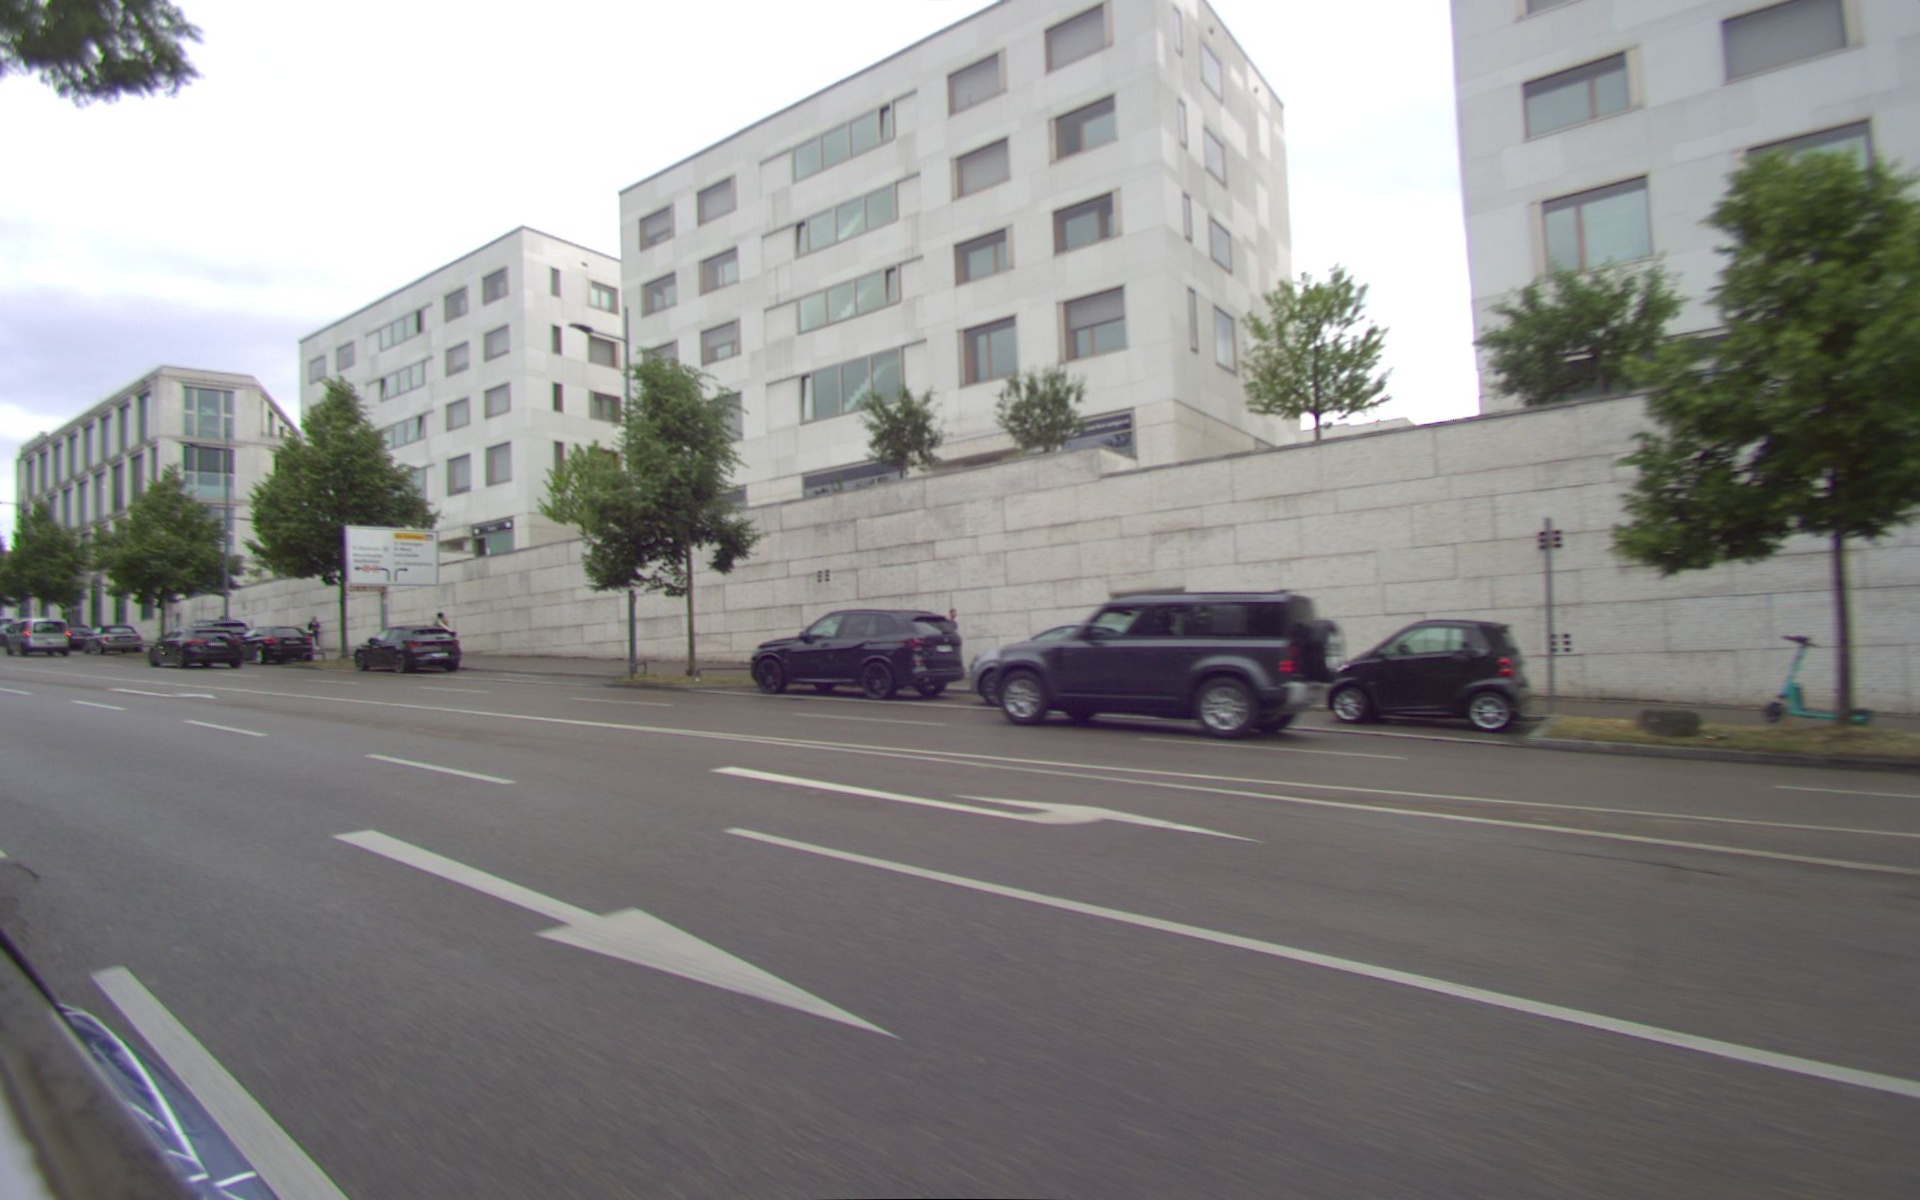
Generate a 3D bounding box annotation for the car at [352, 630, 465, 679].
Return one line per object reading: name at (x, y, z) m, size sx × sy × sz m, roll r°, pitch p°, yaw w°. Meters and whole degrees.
car at (-17.432, 1.694, 31.934) m, size 3.958 × 1.437 × 1.664 m, roll -2°, pitch -2°, yaw 37°

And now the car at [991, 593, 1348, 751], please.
car at (2.833, 0.928, 14.107) m, size 4.497 × 1.871 × 1.903 m, roll -1°, pitch -3°, yaw 36°

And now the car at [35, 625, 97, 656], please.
car at (-48.175, 2.166, 54.504) m, size 4.010 × 1.593 × 1.679 m, roll -1°, pitch -2°, yaw 37°

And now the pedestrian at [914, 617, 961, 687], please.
pedestrian at (-0.582, 1.356, 26.478) m, size 1.019 × 1.788 × 0.701 m, roll -2°, pitch -3°, yaw 36°

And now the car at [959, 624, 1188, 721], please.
car at (1.966, 1.218, 17.944) m, size 3.703 × 1.526 × 1.664 m, roll -2°, pitch -2°, yaw 36°

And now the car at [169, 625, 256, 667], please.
car at (-31.059, 1.883, 41.997) m, size 4.353 × 1.633 × 1.688 m, roll -1°, pitch -2°, yaw 36°

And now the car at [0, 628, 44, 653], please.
car at (-57.006, 2.452, 61.140) m, size 3.689 × 1.395 × 1.680 m, roll -3°, pitch -2°, yaw 35°

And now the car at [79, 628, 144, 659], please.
car at (-42.055, 2.167, 50.129) m, size 3.853 × 1.455 × 1.679 m, roll -3°, pitch -2°, yaw 37°

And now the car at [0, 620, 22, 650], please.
car at (-62.890, 2.293, 65.523) m, size 5.247 × 1.830 × 2.104 m, roll -3°, pitch -3°, yaw 35°

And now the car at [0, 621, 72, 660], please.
car at (-43.920, 1.941, 47.990) m, size 4.328 × 1.760 × 1.695 m, roll -2°, pitch -5°, yaw 35°

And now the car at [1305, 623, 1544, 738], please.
car at (6.879, 1.131, 15.076) m, size 2.975 × 1.526 × 1.494 m, roll -2°, pitch -2°, yaw 37°

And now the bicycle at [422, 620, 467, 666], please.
bicycle at (-19.316, 1.580, 37.925) m, size 1.877 × 1.669 × 0.736 m, roll 0°, pitch 0°, yaw 36°

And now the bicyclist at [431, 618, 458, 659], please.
bicyclist at (-19.226, 1.432, 37.765) m, size 0.768 × 1.529 × 0.571 m, roll -1°, pitch -2°, yaw 36°

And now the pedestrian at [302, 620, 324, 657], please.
pedestrian at (-32.220, 1.917, 50.381) m, size 0.690 × 1.788 × 0.712 m, roll -3°, pitch -3°, yaw 35°

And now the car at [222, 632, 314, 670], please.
car at (-26.369, 1.920, 38.520) m, size 4.155 × 1.370 × 1.679 m, roll -2°, pitch -3°, yaw 37°

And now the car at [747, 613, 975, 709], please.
car at (-2.104, 1.202, 20.875) m, size 4.585 × 1.794 × 1.841 m, roll -2°, pitch -2°, yaw 35°

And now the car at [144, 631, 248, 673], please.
car at (-26.758, 1.795, 35.430) m, size 4.182 × 1.391 × 1.754 m, roll -2°, pitch -3°, yaw 36°
